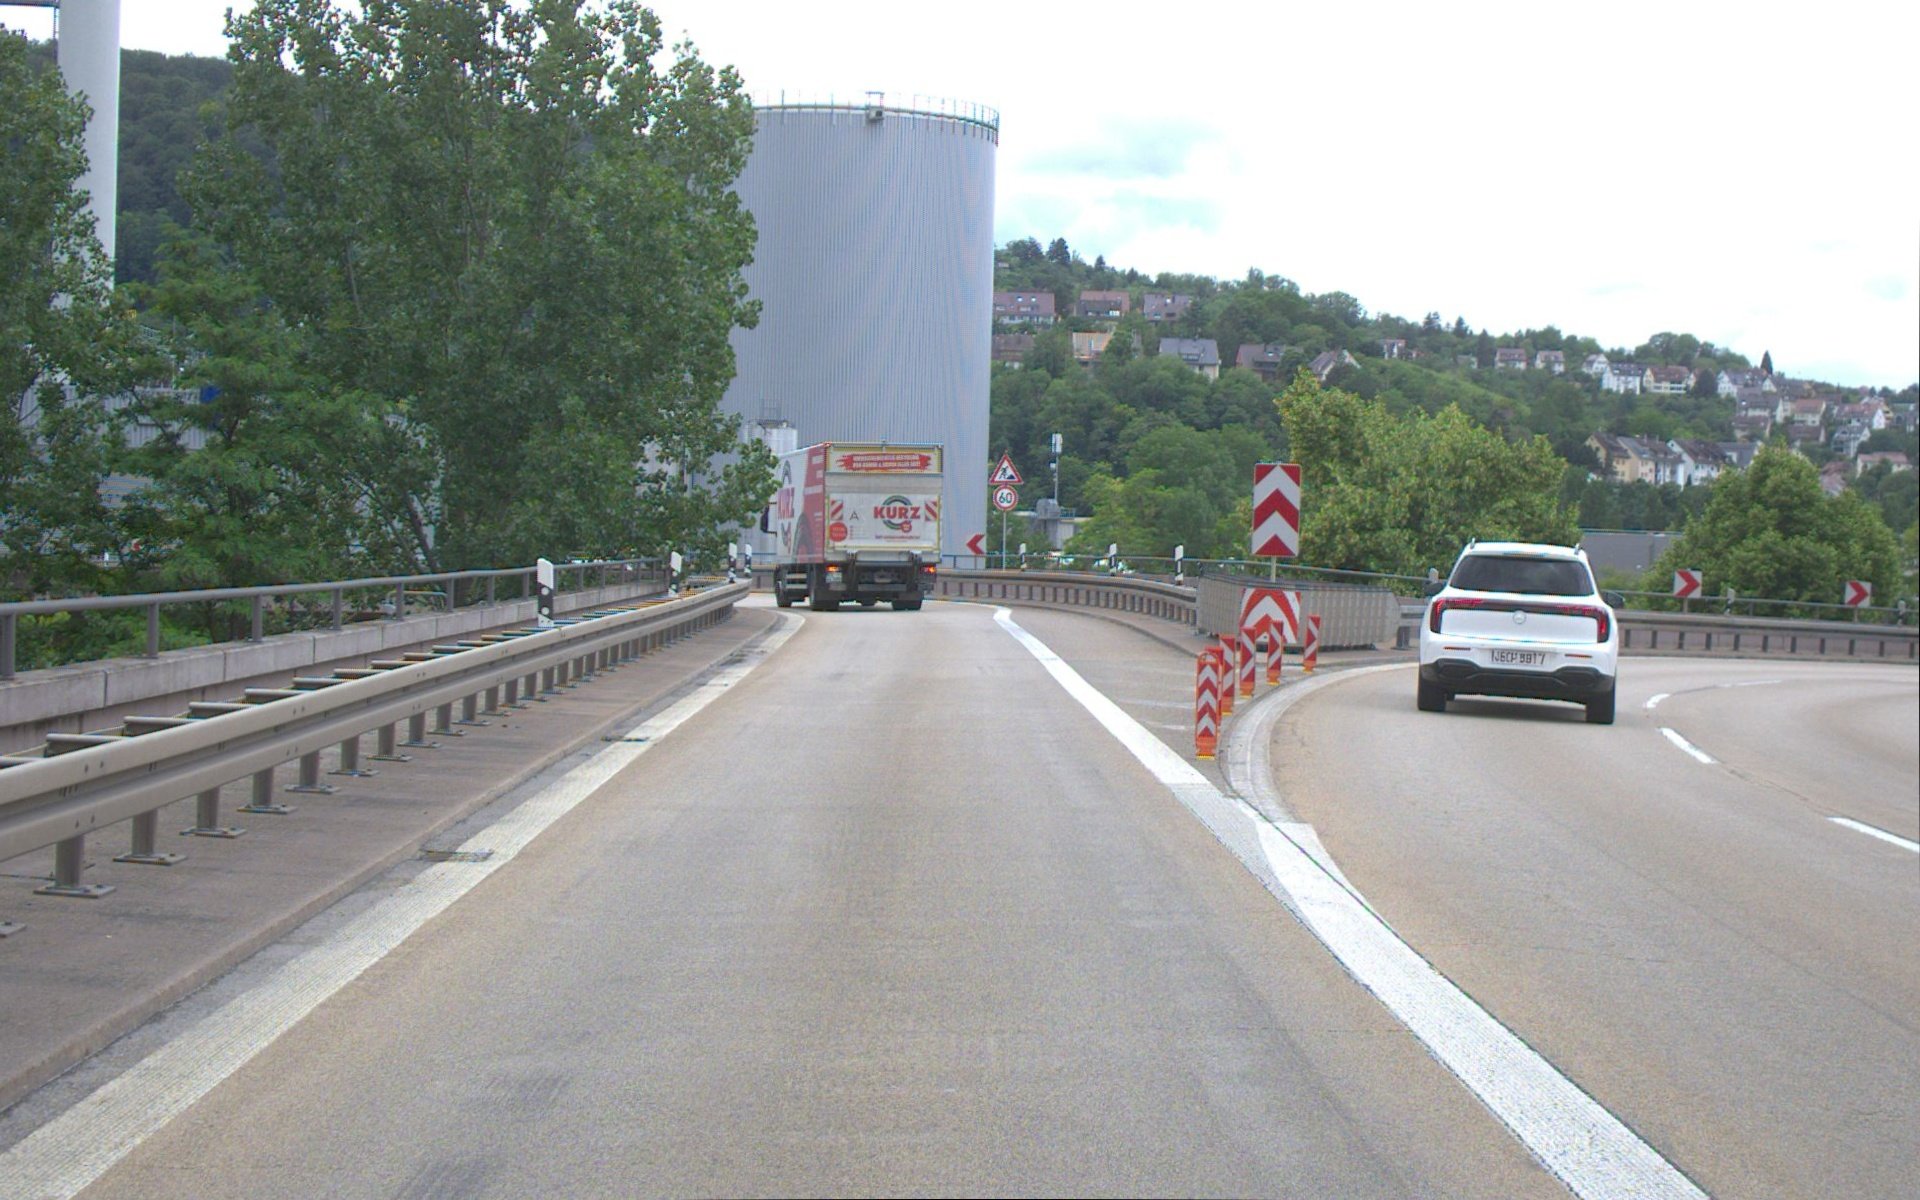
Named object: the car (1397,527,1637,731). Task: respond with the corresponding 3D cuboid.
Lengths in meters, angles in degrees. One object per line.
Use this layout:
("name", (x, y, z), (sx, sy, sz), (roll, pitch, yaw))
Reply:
("car", (5.525, 0.218, 33.705), (1.925, 1.779, 4.111), (3, 2, 14))

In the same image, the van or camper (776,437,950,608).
("van or camper", (-2.253, -1.672, 76.254), (3.121, 3.567, 8.552), (0, 1, -6))
